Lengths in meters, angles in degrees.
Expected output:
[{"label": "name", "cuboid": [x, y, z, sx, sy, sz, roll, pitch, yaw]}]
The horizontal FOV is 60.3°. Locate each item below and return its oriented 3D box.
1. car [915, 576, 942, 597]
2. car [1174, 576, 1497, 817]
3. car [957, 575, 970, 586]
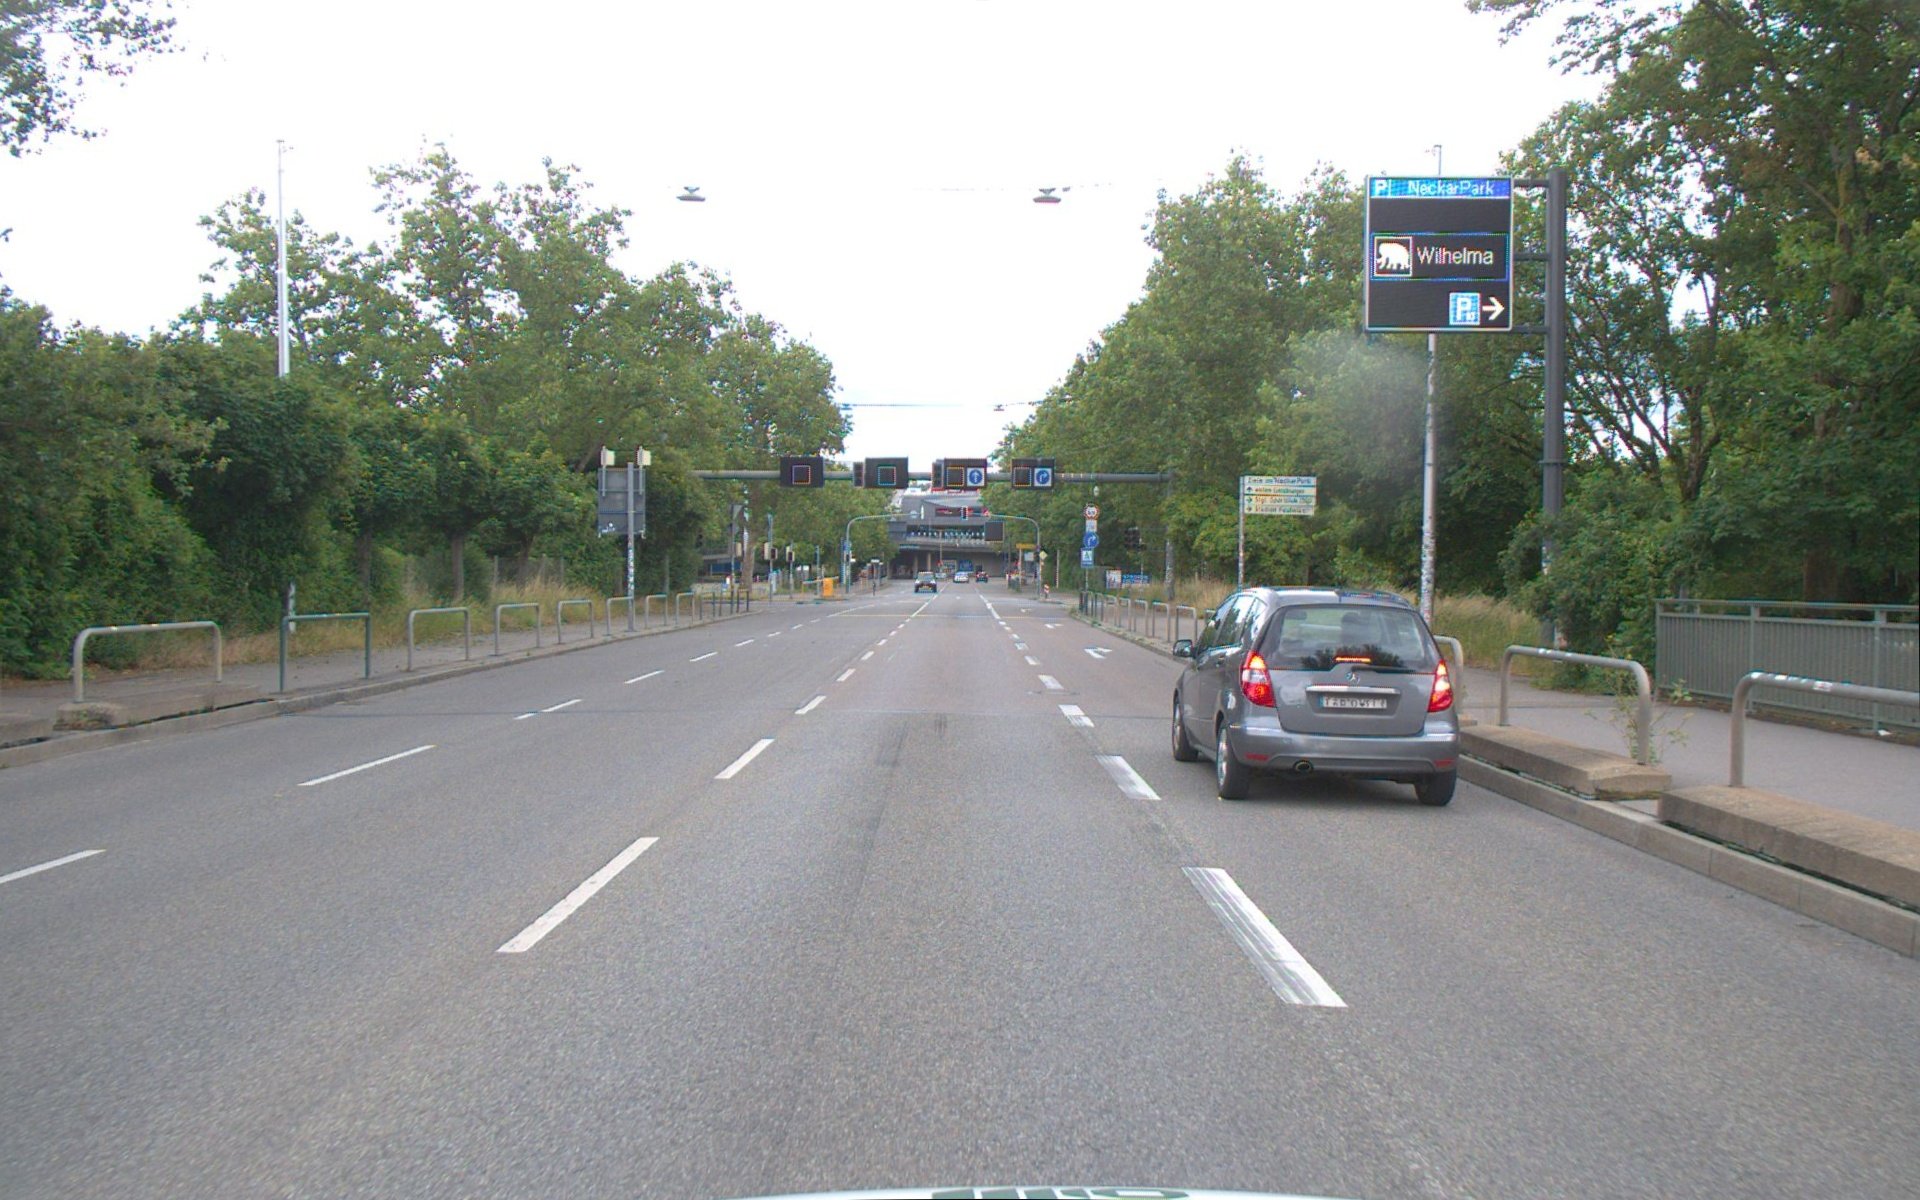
[{"label": "car", "cuboid": [-2.653, -1.119, 139.491, 1.952, 1.689, 4.519, -1, 0, 3]}, {"label": "car", "cuboid": [2.852, 0.696, 13.430, 1.788, 1.645, 4.034, 1, -1, 1]}, {"label": "car", "cuboid": [0.541, -2.879, 245.983, 1.742, 1.485, 3.822, 2, 0, 1]}]
